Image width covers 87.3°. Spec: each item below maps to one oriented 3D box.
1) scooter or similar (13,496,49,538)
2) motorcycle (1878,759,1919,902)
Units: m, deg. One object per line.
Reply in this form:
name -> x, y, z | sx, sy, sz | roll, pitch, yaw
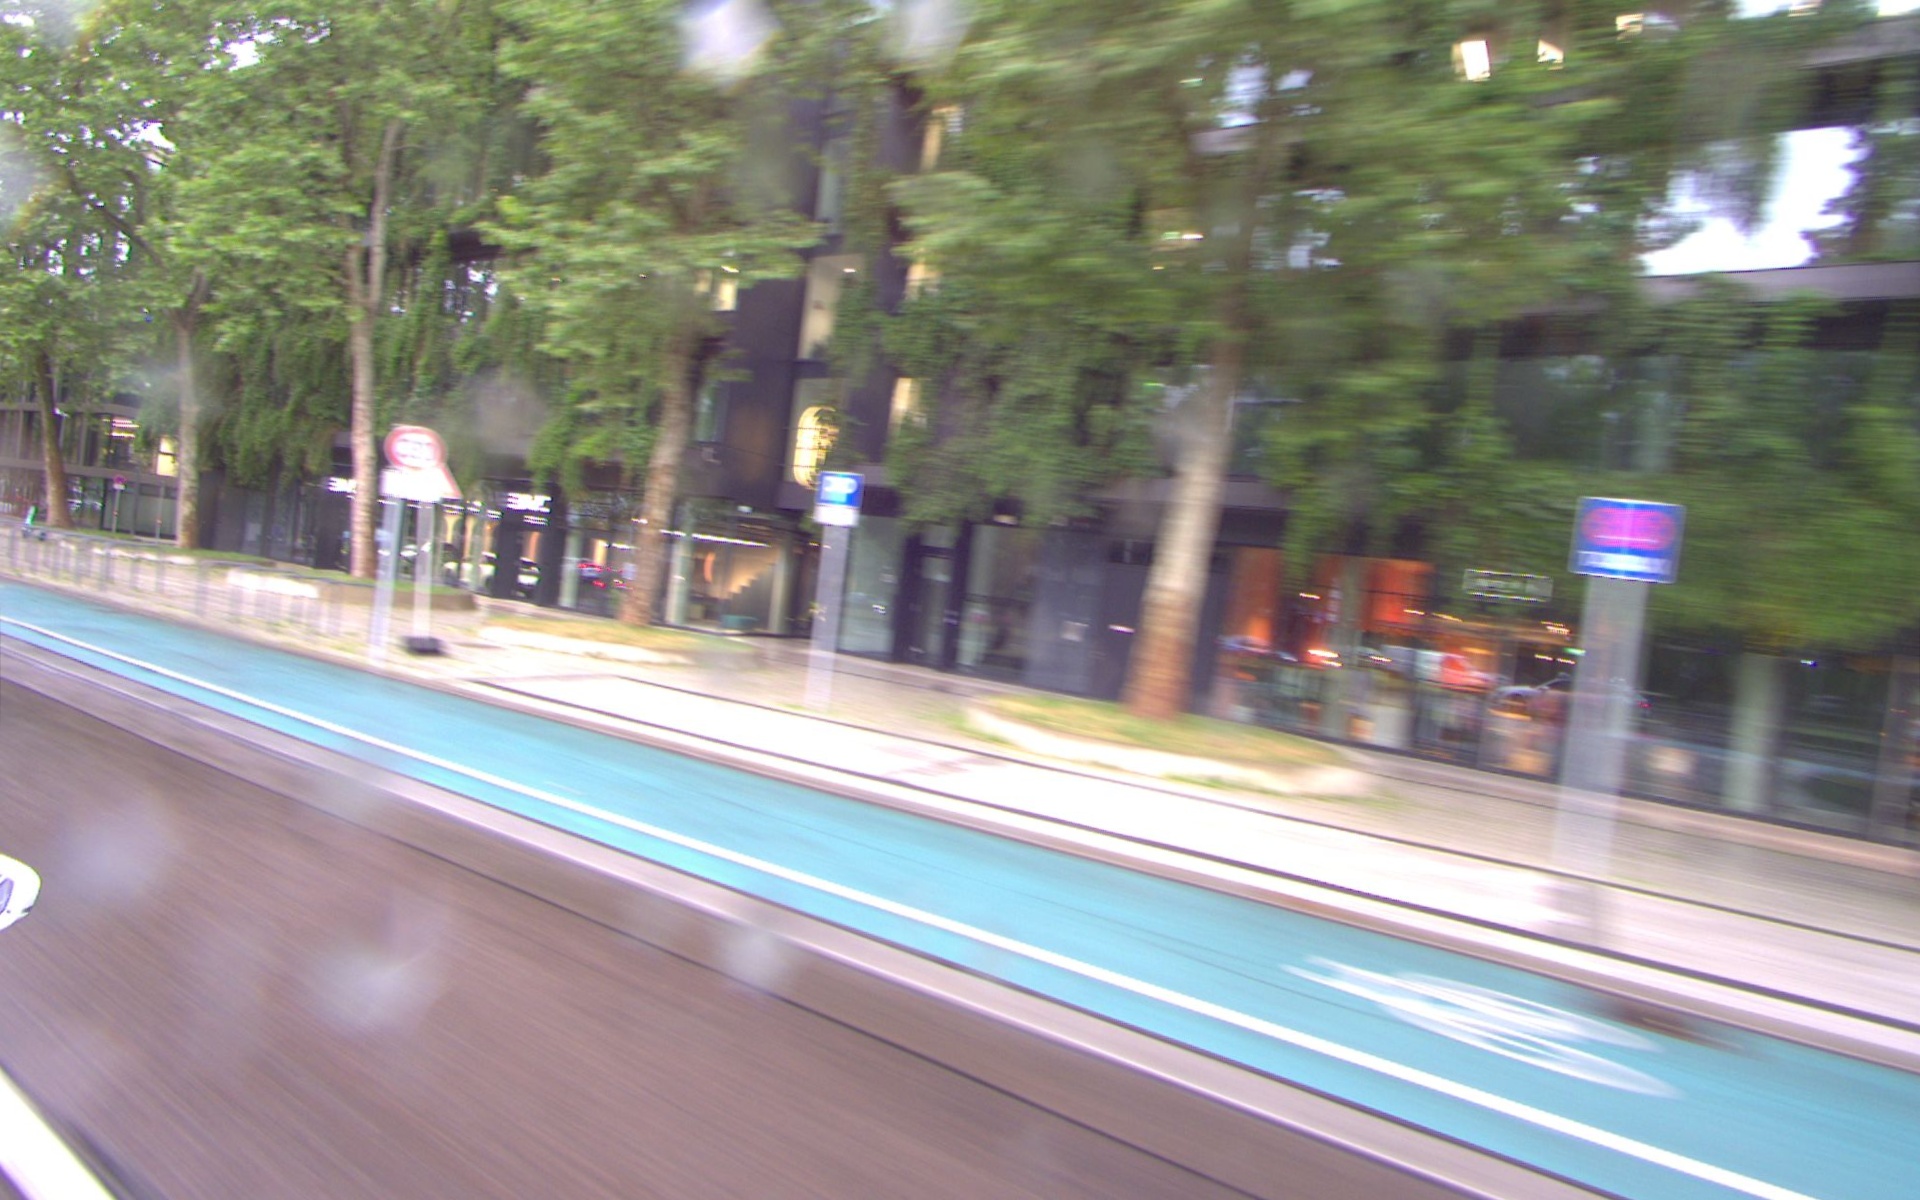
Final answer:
scooter or similar -> -29.590, -2.618, 32.055 | 0.377, 1.243, 1.073 | 7, 0, -22
motorcycle -> 9.509, 2.237, 9.210 | 1.035, 1.285, 2.313 | 8, -1, 30
